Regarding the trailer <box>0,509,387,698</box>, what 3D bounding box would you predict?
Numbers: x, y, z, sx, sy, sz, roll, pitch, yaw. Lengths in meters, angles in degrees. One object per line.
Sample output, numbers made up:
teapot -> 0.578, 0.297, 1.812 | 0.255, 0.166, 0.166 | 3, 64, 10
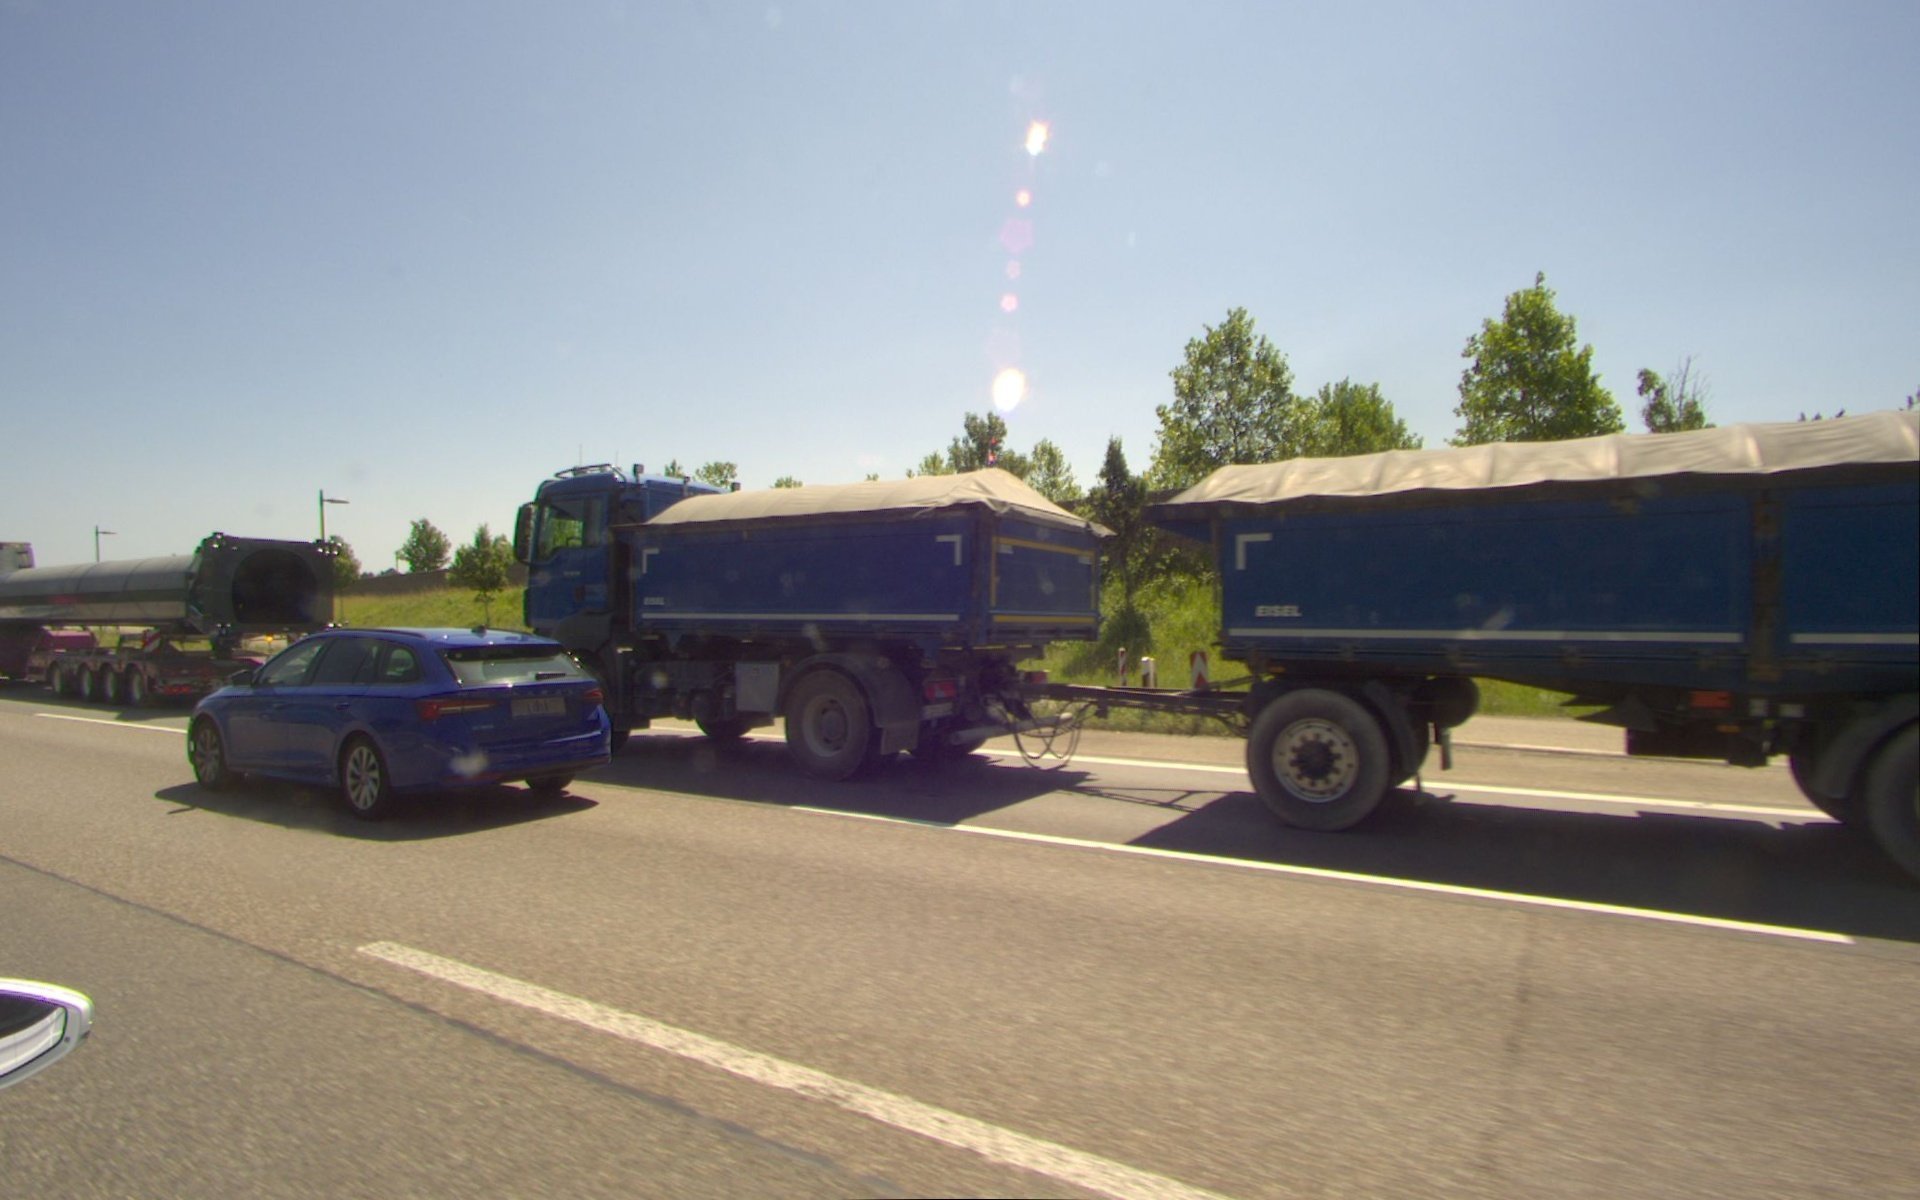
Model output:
trailer -> -18.602, 0.306, 22.459 | 15.559, 3.118, 3.638 | -2, -2, 35

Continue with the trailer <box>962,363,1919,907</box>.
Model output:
trailer -> 4.540, 0.218, 7.261 | 8.985, 2.873, 2.739 | 0, -1, 33

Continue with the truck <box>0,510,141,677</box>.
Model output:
truck -> -26.319, -0.044, 27.836 | 7.423, 4.146, 3.617 | -2, -2, 35

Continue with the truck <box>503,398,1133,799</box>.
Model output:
truck -> -1.850, 0.022, 11.440 | 7.030, 3.354, 2.739 | 0, -1, 33

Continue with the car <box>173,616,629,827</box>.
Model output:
car -> -5.050, 0.922, 8.859 | 4.366, 1.459, 1.703 | -2, -2, 33
